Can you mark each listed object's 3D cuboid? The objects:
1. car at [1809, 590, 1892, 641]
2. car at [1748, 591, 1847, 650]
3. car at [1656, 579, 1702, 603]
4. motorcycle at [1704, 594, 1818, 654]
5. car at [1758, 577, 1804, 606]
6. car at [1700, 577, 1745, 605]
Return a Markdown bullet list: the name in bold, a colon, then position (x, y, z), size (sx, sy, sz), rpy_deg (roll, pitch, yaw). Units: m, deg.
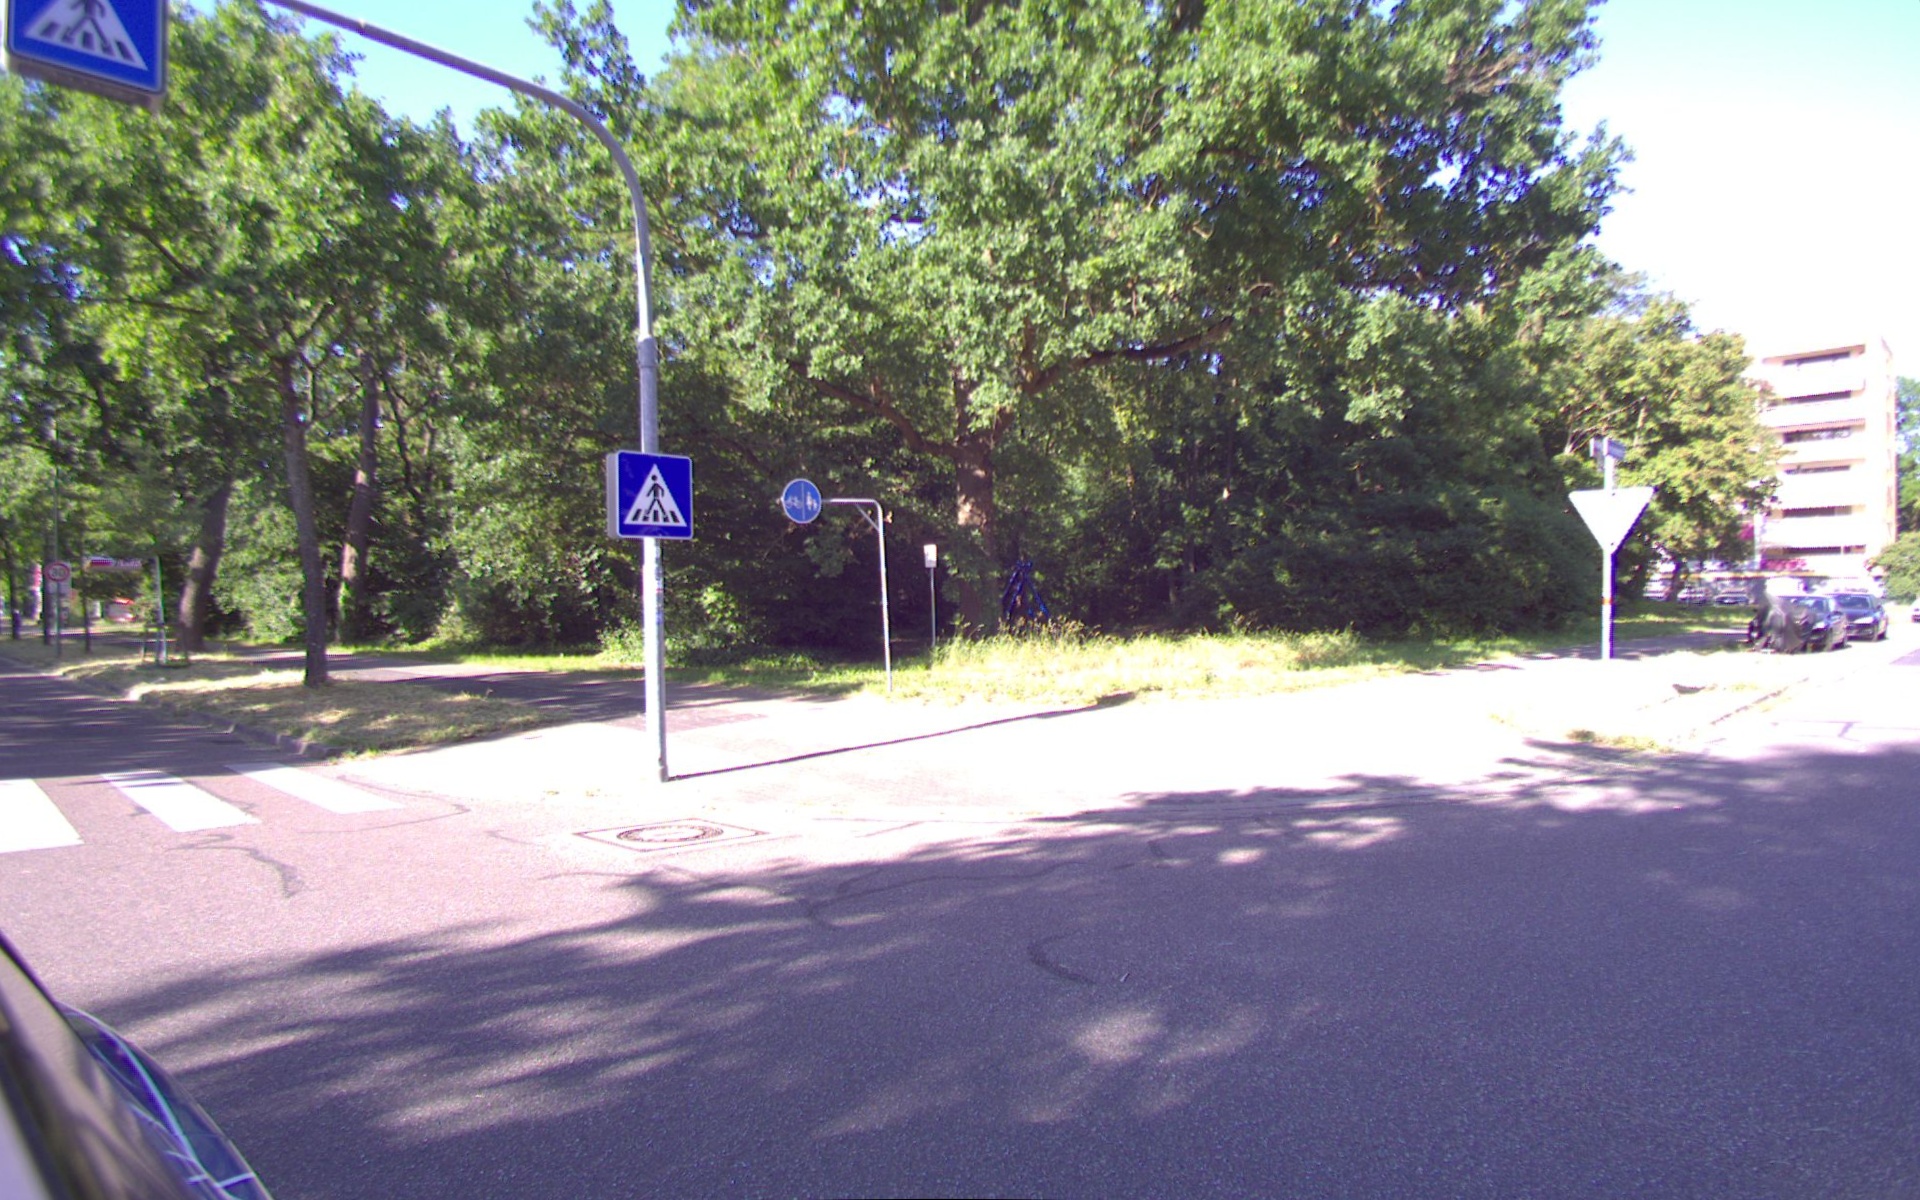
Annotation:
- **car**: position (26.844, 0.442, 30.476), size (3.535, 1.402, 1.561), rpy_deg (-1, 0, -44)
- **car**: position (21.792, 0.501, 26.299), size (3.535, 1.402, 1.561), rpy_deg (-1, 0, -44)
- **car**: position (48.031, -0.603, 67.551), size (3.779, 1.538, 1.802), rpy_deg (-1, 0, -44)
- **motorcycle**: position (18.695, 0.560, 23.652), size (1.944, 1.354, 0.672), rpy_deg (-1, 0, 16)
- **car**: position (51.689, -0.569, 63.690), size (3.779, 1.757, 1.764), rpy_deg (-1, 0, -44)
- **car**: position (49.882, -0.589, 66.169), size (3.779, 1.757, 1.764), rpy_deg (-1, 0, -44)
